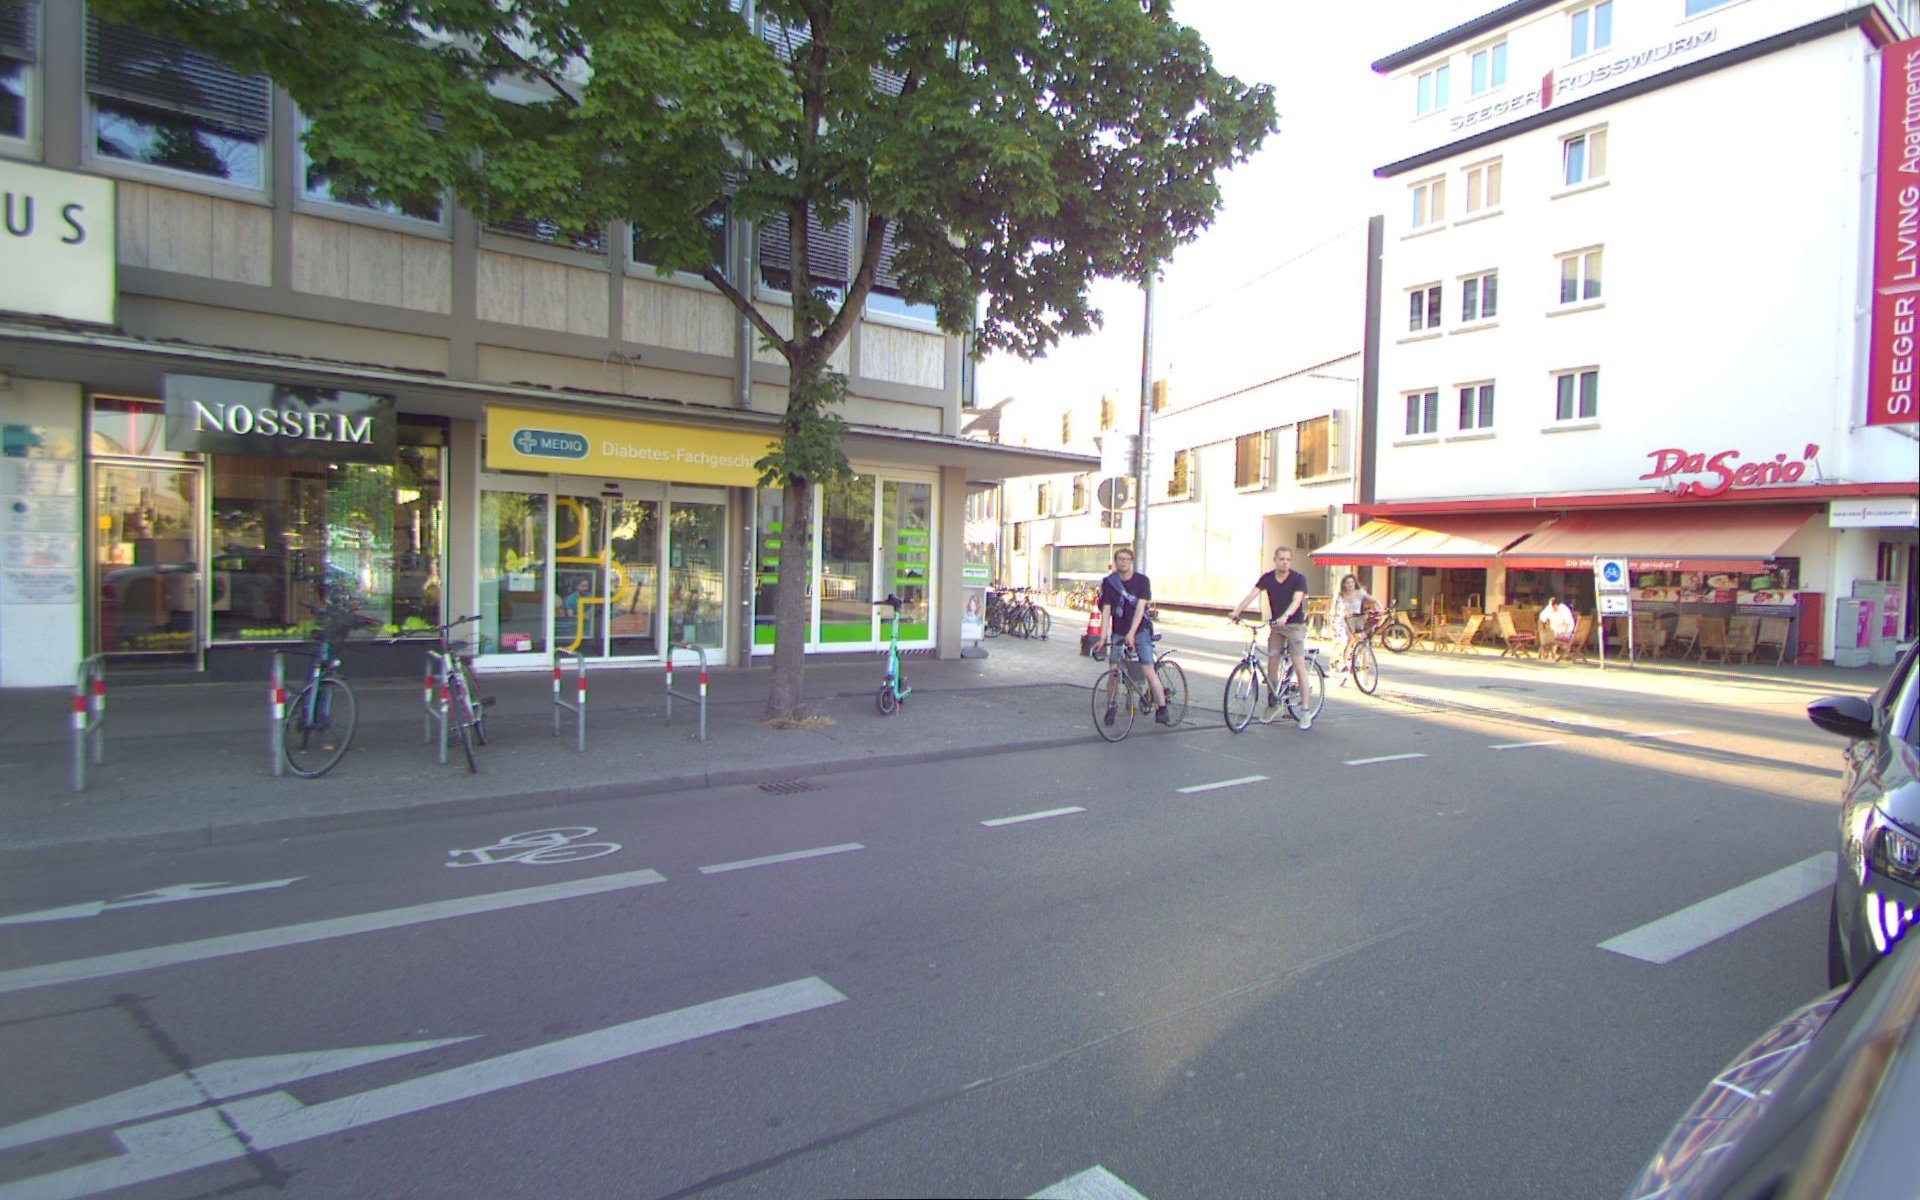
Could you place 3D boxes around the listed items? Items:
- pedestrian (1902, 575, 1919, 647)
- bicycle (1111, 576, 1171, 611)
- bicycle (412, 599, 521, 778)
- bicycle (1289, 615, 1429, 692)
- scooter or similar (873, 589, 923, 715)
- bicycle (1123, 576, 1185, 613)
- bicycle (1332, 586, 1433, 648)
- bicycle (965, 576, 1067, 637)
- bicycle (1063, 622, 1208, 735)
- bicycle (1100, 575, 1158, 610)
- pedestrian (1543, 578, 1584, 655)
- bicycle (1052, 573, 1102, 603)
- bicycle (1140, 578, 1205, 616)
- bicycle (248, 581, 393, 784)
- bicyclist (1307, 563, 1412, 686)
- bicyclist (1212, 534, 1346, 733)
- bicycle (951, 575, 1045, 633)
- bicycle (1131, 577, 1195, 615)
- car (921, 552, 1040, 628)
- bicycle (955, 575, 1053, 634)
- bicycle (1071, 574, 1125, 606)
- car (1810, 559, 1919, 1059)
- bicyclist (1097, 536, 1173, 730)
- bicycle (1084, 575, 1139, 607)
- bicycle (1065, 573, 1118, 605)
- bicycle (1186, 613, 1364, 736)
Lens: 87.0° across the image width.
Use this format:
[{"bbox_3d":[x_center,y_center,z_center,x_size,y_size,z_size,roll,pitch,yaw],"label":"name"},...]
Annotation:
[{"bbox_3d":[24.166,0.284,25.331,0.594,1.782,0.526,2,1,9],"label":"pedestrian"},{"bbox_3d":[6.842,-0.239,38.285,2.068,1.235,0.706,2,1,-14],"label":"bicycle"},{"bbox_3d":[-3.769,0.596,7.843,0.654,1.124,2.007,1,2,-23],"label":"bicycle"},{"bbox_3d":[5.549,0.710,14.228,0.823,0.892,2.017,1,2,-13],"label":"bicycle"},{"bbox_3d":[-0.656,0.527,10.981,0.332,1.250,1.276,2,2,5],"label":"scooter or similar"},{"bbox_3d":[7.132,-0.197,37.223,2.068,1.235,0.706,2,1,-14],"label":"bicycle"},{"bbox_3d":[9.759,0.357,23.475,0.690,1.303,2.115,0,2,-33],"label":"bicycle"},{"bbox_3d":[1.224,0.136,22.145,2.068,1.235,0.706,2,1,-14],"label":"bicycle"},{"bbox_3d":[1.785,0.738,10.098,0.465,0.982,1.771,3,2,45],"label":"bicycle"},{"bbox_3d":[6.575,-0.297,39.437,2.068,1.235,0.706,2,1,-14],"label":"bicycle"},{"bbox_3d":[12.699,0.333,21.300,0.563,1.560,0.573,0,2,-44],"label":"pedestrian"},{"bbox_3d":[5.184,-0.522,44.960,2.068,1.235,0.706,2,1,-21],"label":"bicycle"},{"bbox_3d":[7.459,-0.109,35.547,2.068,1.235,0.706,2,1,-14],"label":"bicycle"},{"bbox_3d":[-4.655,0.515,7.476,0.654,1.251,1.914,1,2,-25],"label":"bicycle"},{"bbox_3d":[5.572,0.317,14.167,0.823,1.643,1.117,1,2,-13],"label":"bicyclist"},{"bbox_3d":[3.317,0.306,10.525,1.096,1.941,0.839,0,2,-42],"label":"bicyclist"},{"bbox_3d":[0.910,0.099,24.505,2.068,1.235,0.706,4,1,-14],"label":"bicycle"},{"bbox_3d":[7.299,-0.150,36.419,2.068,1.235,0.706,2,1,-14],"label":"bicycle"},{"bbox_3d":[0.463,-0.324,27.439,1.854,1.771,4.010,5,1,-19],"label":"car"},{"bbox_3d":[1.005,0.101,23.242,2.068,1.235,0.706,2,1,-14],"label":"bicycle"},{"bbox_3d":[5.813,-0.439,42.562,2.068,1.235,0.706,2,1,-14],"label":"bicycle"},{"bbox_3d":[4.879,0.653,4.315,1.724,1.541,4.274,2,1,38],"label":"car"},{"bbox_3d":[1.734,0.303,10.020,0.550,1.853,0.465,0,2,-45],"label":"bicyclist"},{"bbox_3d":[6.200,-0.374,41.421,2.068,1.235,0.706,2,1,-14],"label":"bicycle"},{"bbox_3d":[5.626,-0.474,43.281,2.068,1.235,0.706,2,1,-14],"label":"bicycle"},{"bbox_3d":[3.308,0.718,10.530,2.042,1.032,0.839,-2,4,-42],"label":"bicycle"}]
